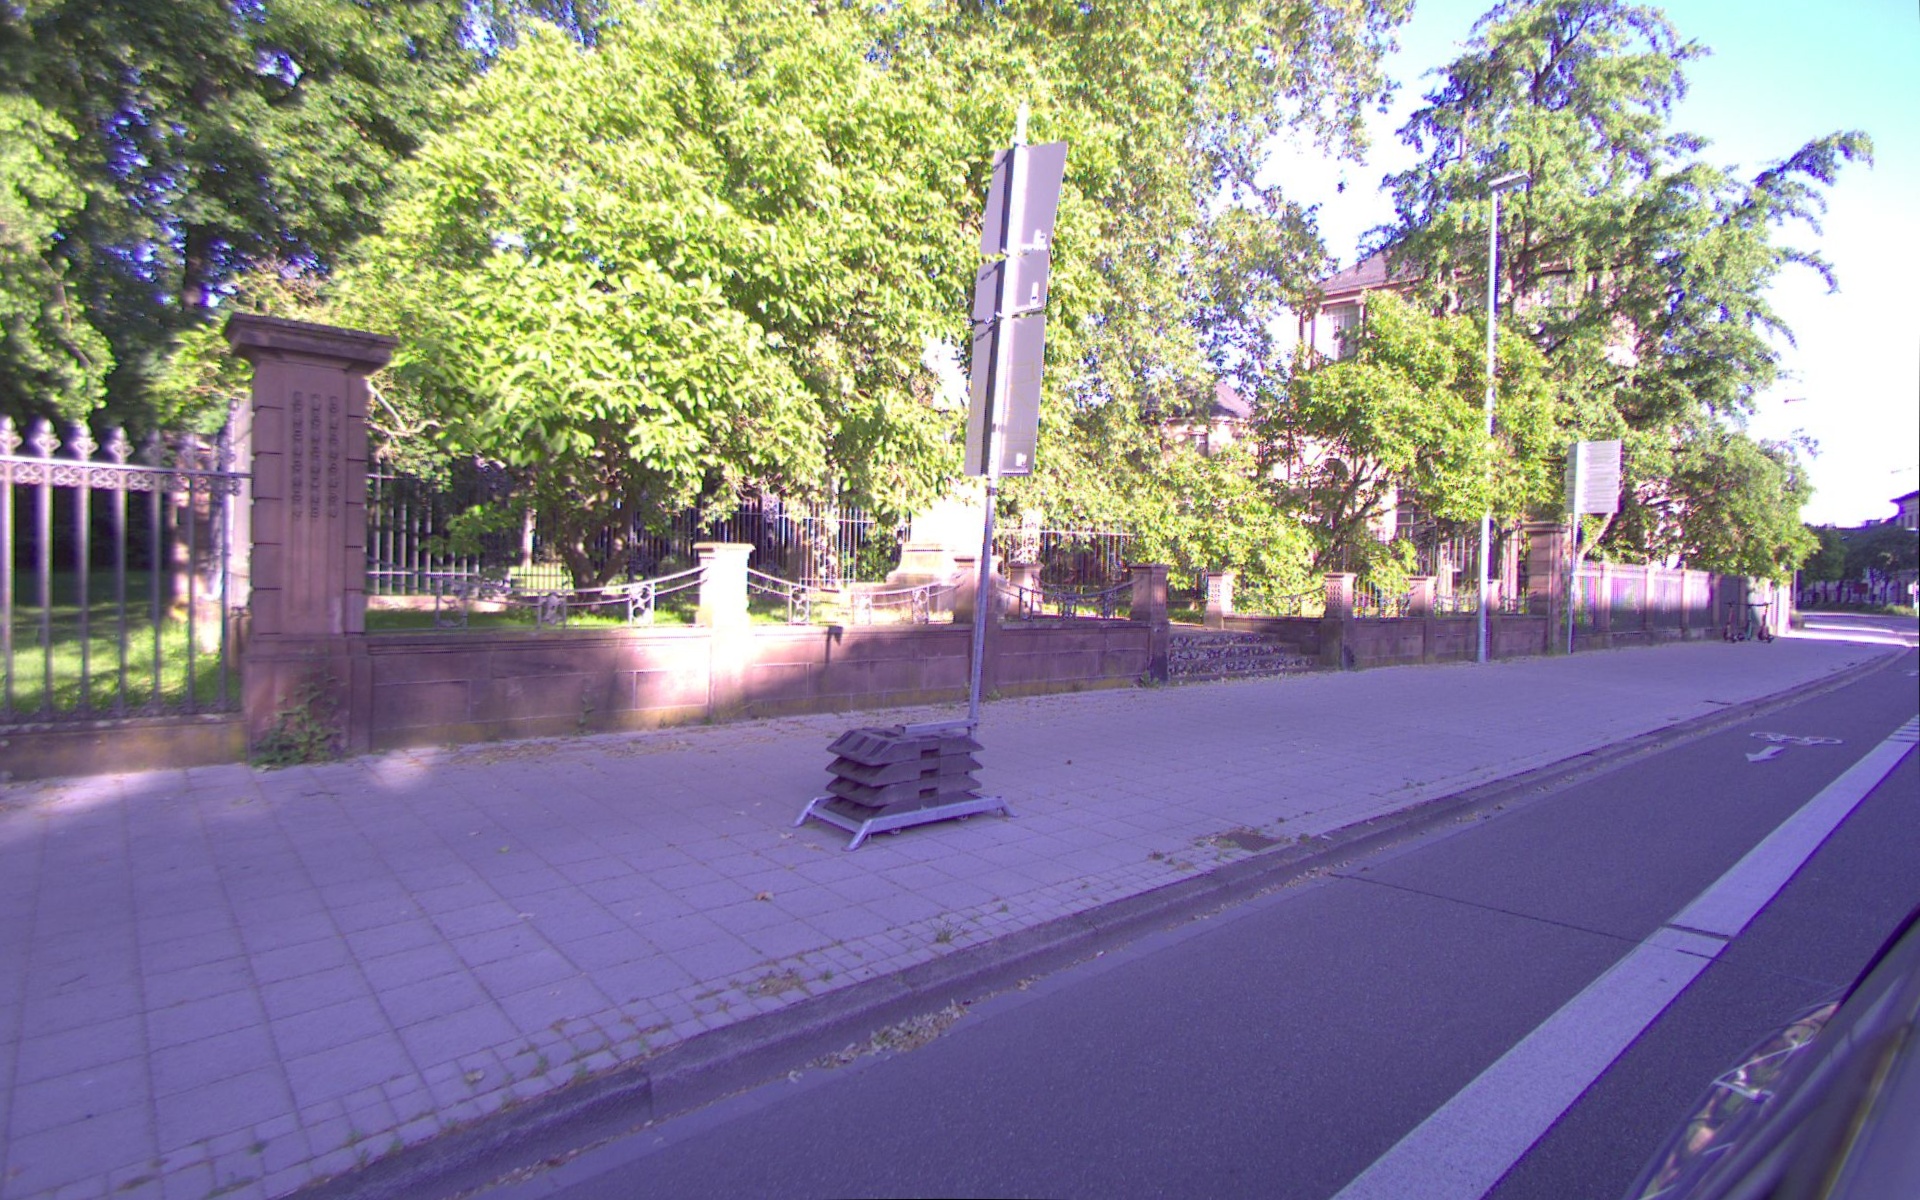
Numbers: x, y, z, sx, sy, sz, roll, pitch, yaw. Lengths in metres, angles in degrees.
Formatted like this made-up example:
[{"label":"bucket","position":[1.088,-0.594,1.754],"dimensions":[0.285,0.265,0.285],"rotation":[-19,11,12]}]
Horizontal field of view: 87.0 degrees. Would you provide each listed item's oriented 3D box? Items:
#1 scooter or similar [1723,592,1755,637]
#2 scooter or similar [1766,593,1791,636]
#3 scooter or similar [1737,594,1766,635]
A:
[{"label":"scooter or similar","position":[22.923,0.416,29.799],"dimensions":[0.572,1.269,1.470],"rotation":[2,2,33]},{"label":"scooter or similar","position":[25.369,0.431,31.374],"dimensions":[0.514,1.255,1.502],"rotation":[3,2,37]},{"label":"scooter or similar","position":[24.269,0.424,31.025],"dimensions":[0.574,1.199,1.466],"rotation":[3,2,41]}]
